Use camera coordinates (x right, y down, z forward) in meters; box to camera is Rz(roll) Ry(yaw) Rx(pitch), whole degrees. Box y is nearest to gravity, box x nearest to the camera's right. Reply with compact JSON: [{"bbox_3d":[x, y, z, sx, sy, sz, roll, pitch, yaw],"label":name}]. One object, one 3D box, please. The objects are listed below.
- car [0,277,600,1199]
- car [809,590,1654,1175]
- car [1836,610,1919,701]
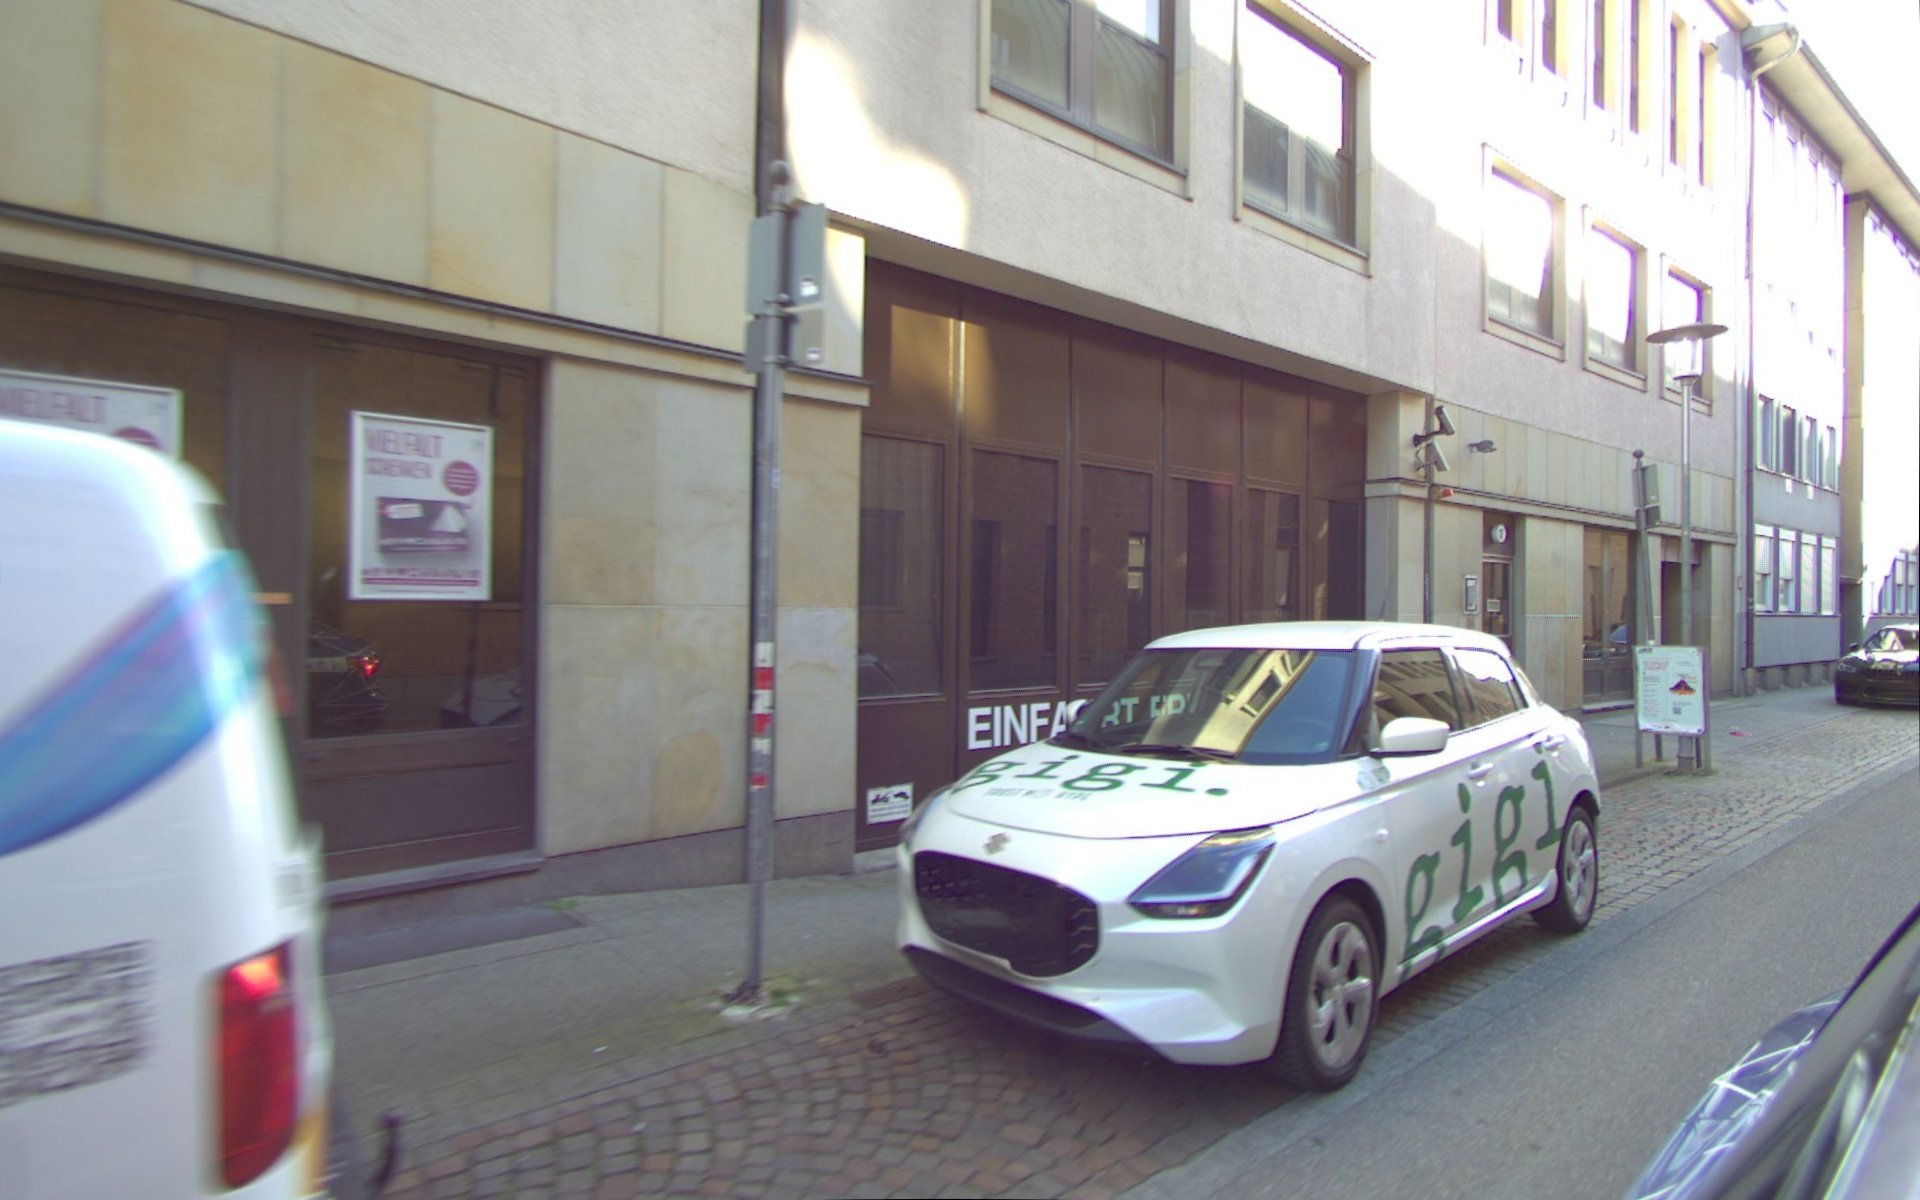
[{"bbox_3d":[-3.058,0.552,0.523,5.124,1.814,1.833,0,-1,-42],"label":"car"},{"bbox_3d":[1.529,0.776,4.687,4.096,1.497,1.842,1,-3,-42],"label":"car"},{"bbox_3d":[17.465,0.926,17.957,5.129,1.472,1.898,1,-2,-38],"label":"car"}]
